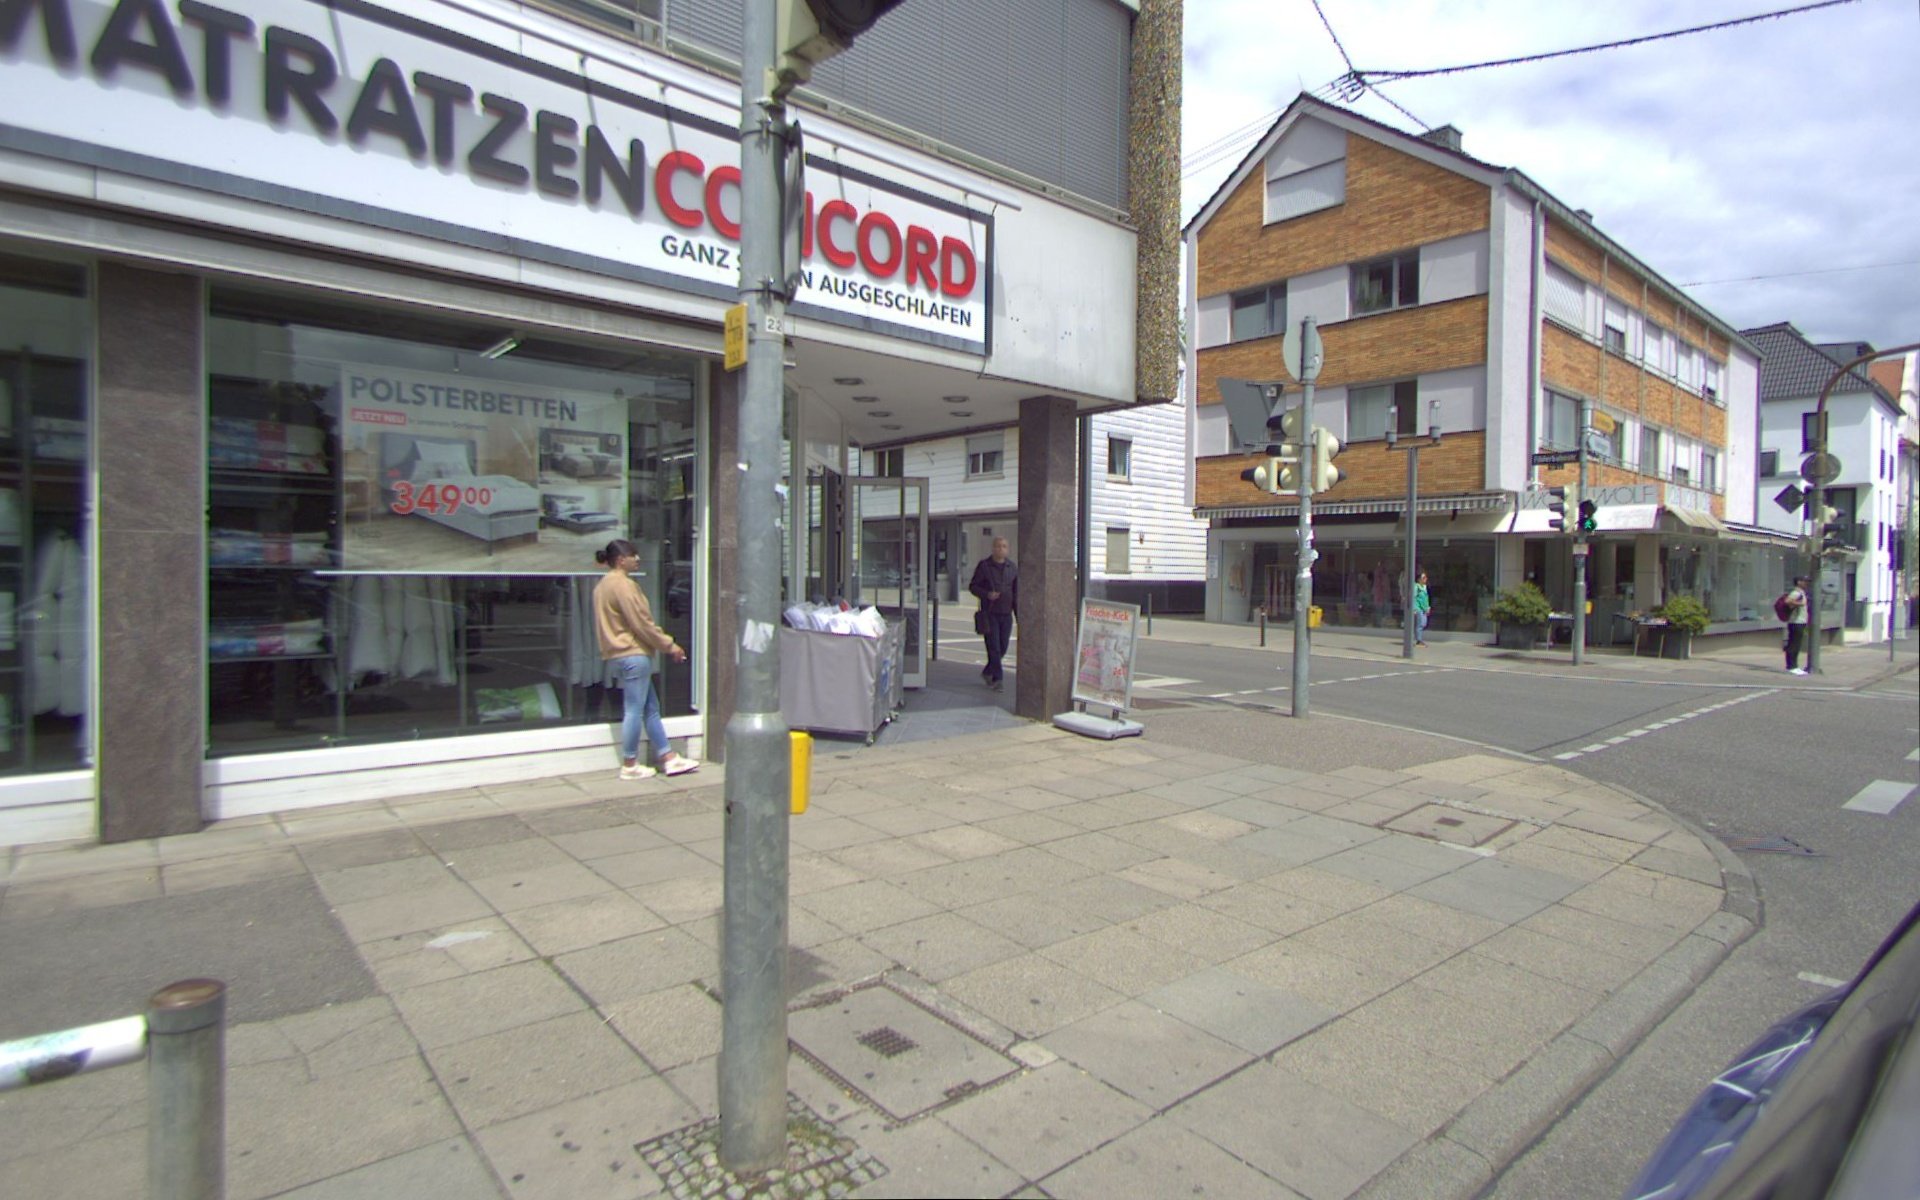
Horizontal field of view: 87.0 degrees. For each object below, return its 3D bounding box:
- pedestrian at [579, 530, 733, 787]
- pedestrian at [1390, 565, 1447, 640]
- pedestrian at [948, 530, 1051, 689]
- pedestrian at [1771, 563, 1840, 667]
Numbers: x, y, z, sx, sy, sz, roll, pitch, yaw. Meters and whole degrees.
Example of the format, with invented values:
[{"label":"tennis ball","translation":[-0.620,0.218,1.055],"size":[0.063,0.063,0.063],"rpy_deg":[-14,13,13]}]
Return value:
[{"label":"pedestrian","translation":[-1.946,0.333,6.466],"size":[0.707,1.517,0.681],"rpy_deg":[0,1,-41]},{"label":"pedestrian","translation":[9.681,0.041,21.374],"size":[0.766,1.544,0.818],"rpy_deg":[0,1,-42]},{"label":"pedestrian","translation":[0.441,0.084,11.335],"size":[0.783,1.691,0.807],"rpy_deg":[0,2,-38]},{"label":"pedestrian","translation":[15.524,0.266,18.587],"size":[0.862,1.853,0.583],"rpy_deg":[1,2,-25]}]
